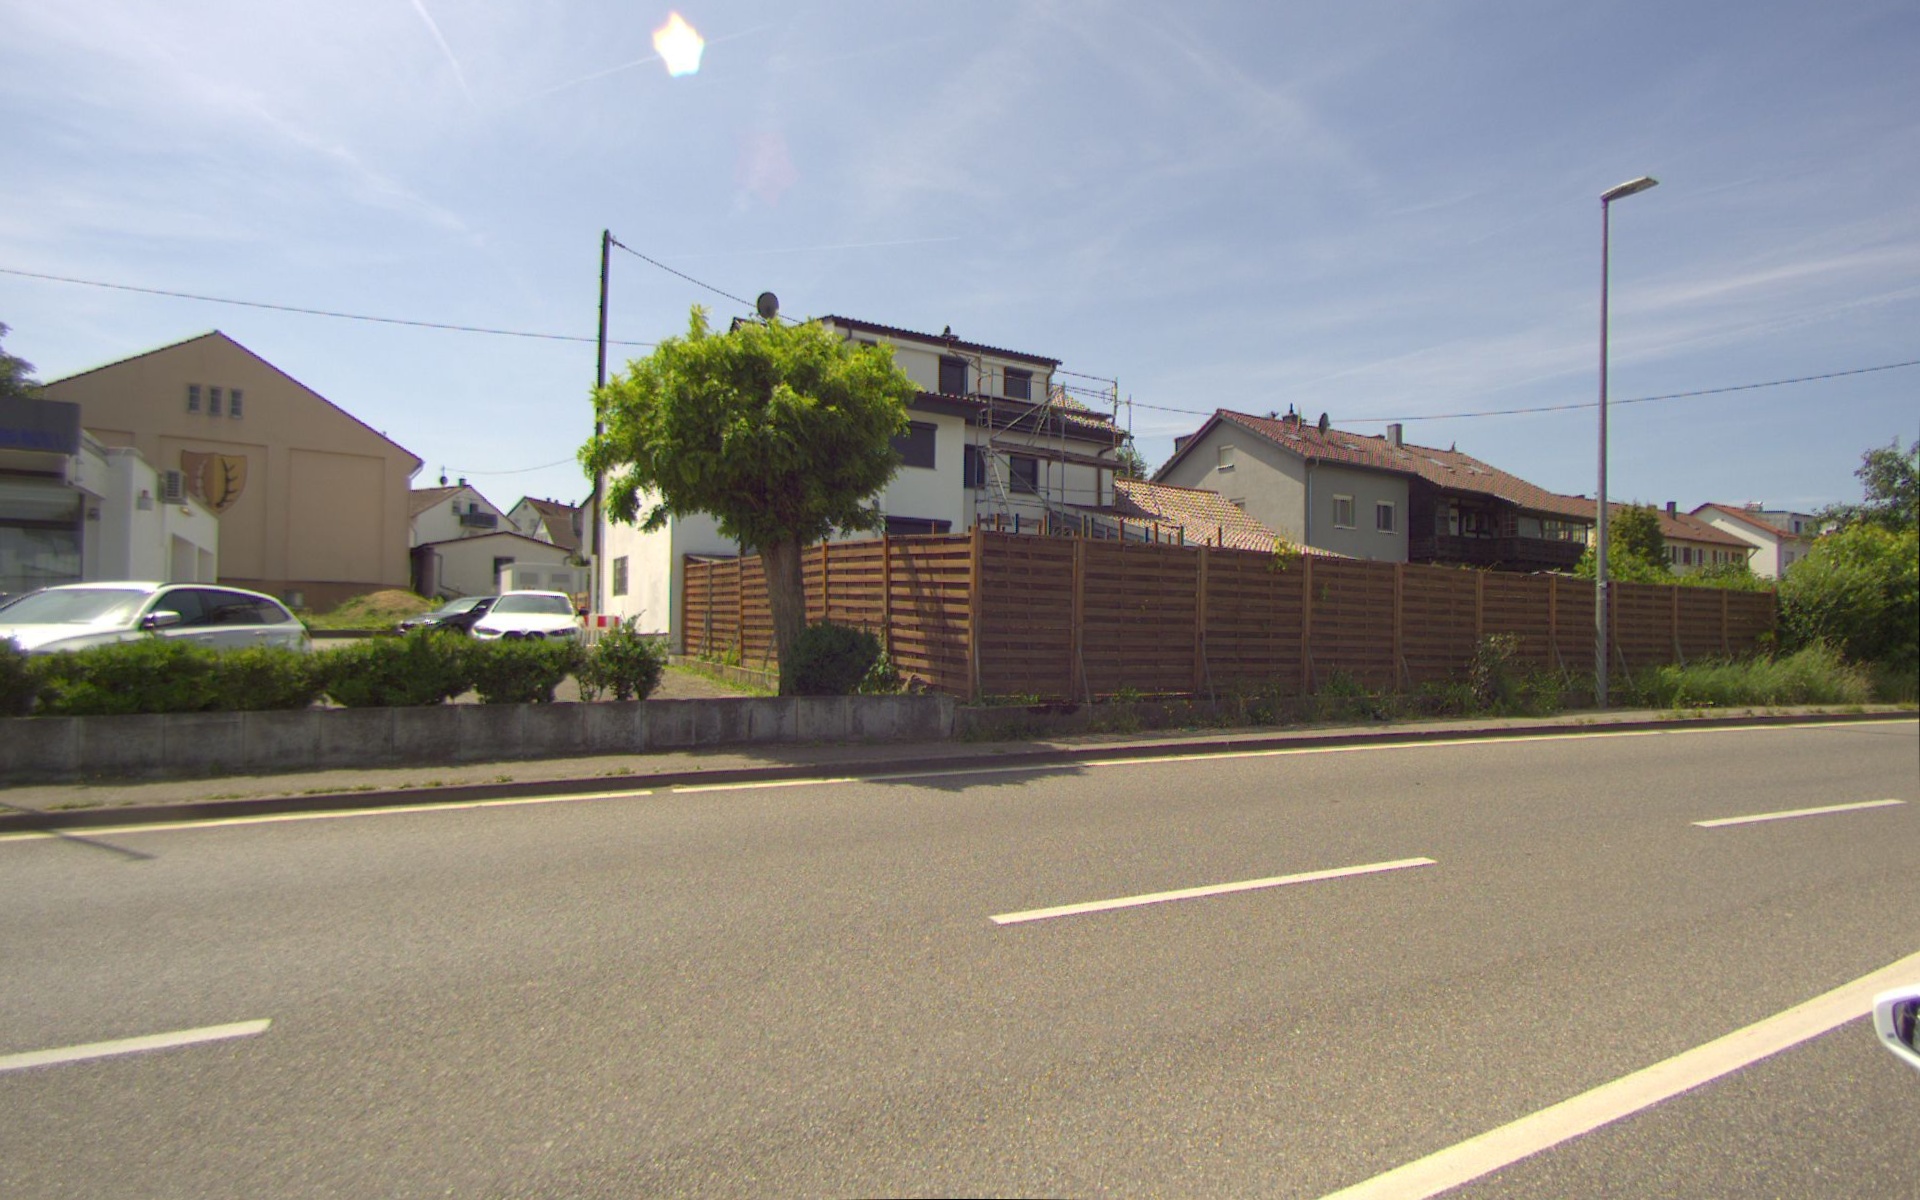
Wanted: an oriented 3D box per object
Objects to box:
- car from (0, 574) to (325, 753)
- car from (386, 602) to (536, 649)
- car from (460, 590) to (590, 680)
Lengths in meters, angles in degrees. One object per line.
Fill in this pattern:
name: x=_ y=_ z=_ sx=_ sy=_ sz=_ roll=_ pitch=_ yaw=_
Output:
car: x=-8.749 y=0.506 z=10.404 sx=1.822 sy=1.467 sz=4.339 roll=2 pitch=0 yaw=-5
car: x=-15.210 y=0.726 z=30.857 sx=1.756 sy=1.238 sz=3.999 roll=2 pitch=1 yaw=21
car: x=-8.207 y=0.610 z=19.284 sx=1.805 sy=1.530 sz=3.985 roll=1 pitch=0 yaw=-17
